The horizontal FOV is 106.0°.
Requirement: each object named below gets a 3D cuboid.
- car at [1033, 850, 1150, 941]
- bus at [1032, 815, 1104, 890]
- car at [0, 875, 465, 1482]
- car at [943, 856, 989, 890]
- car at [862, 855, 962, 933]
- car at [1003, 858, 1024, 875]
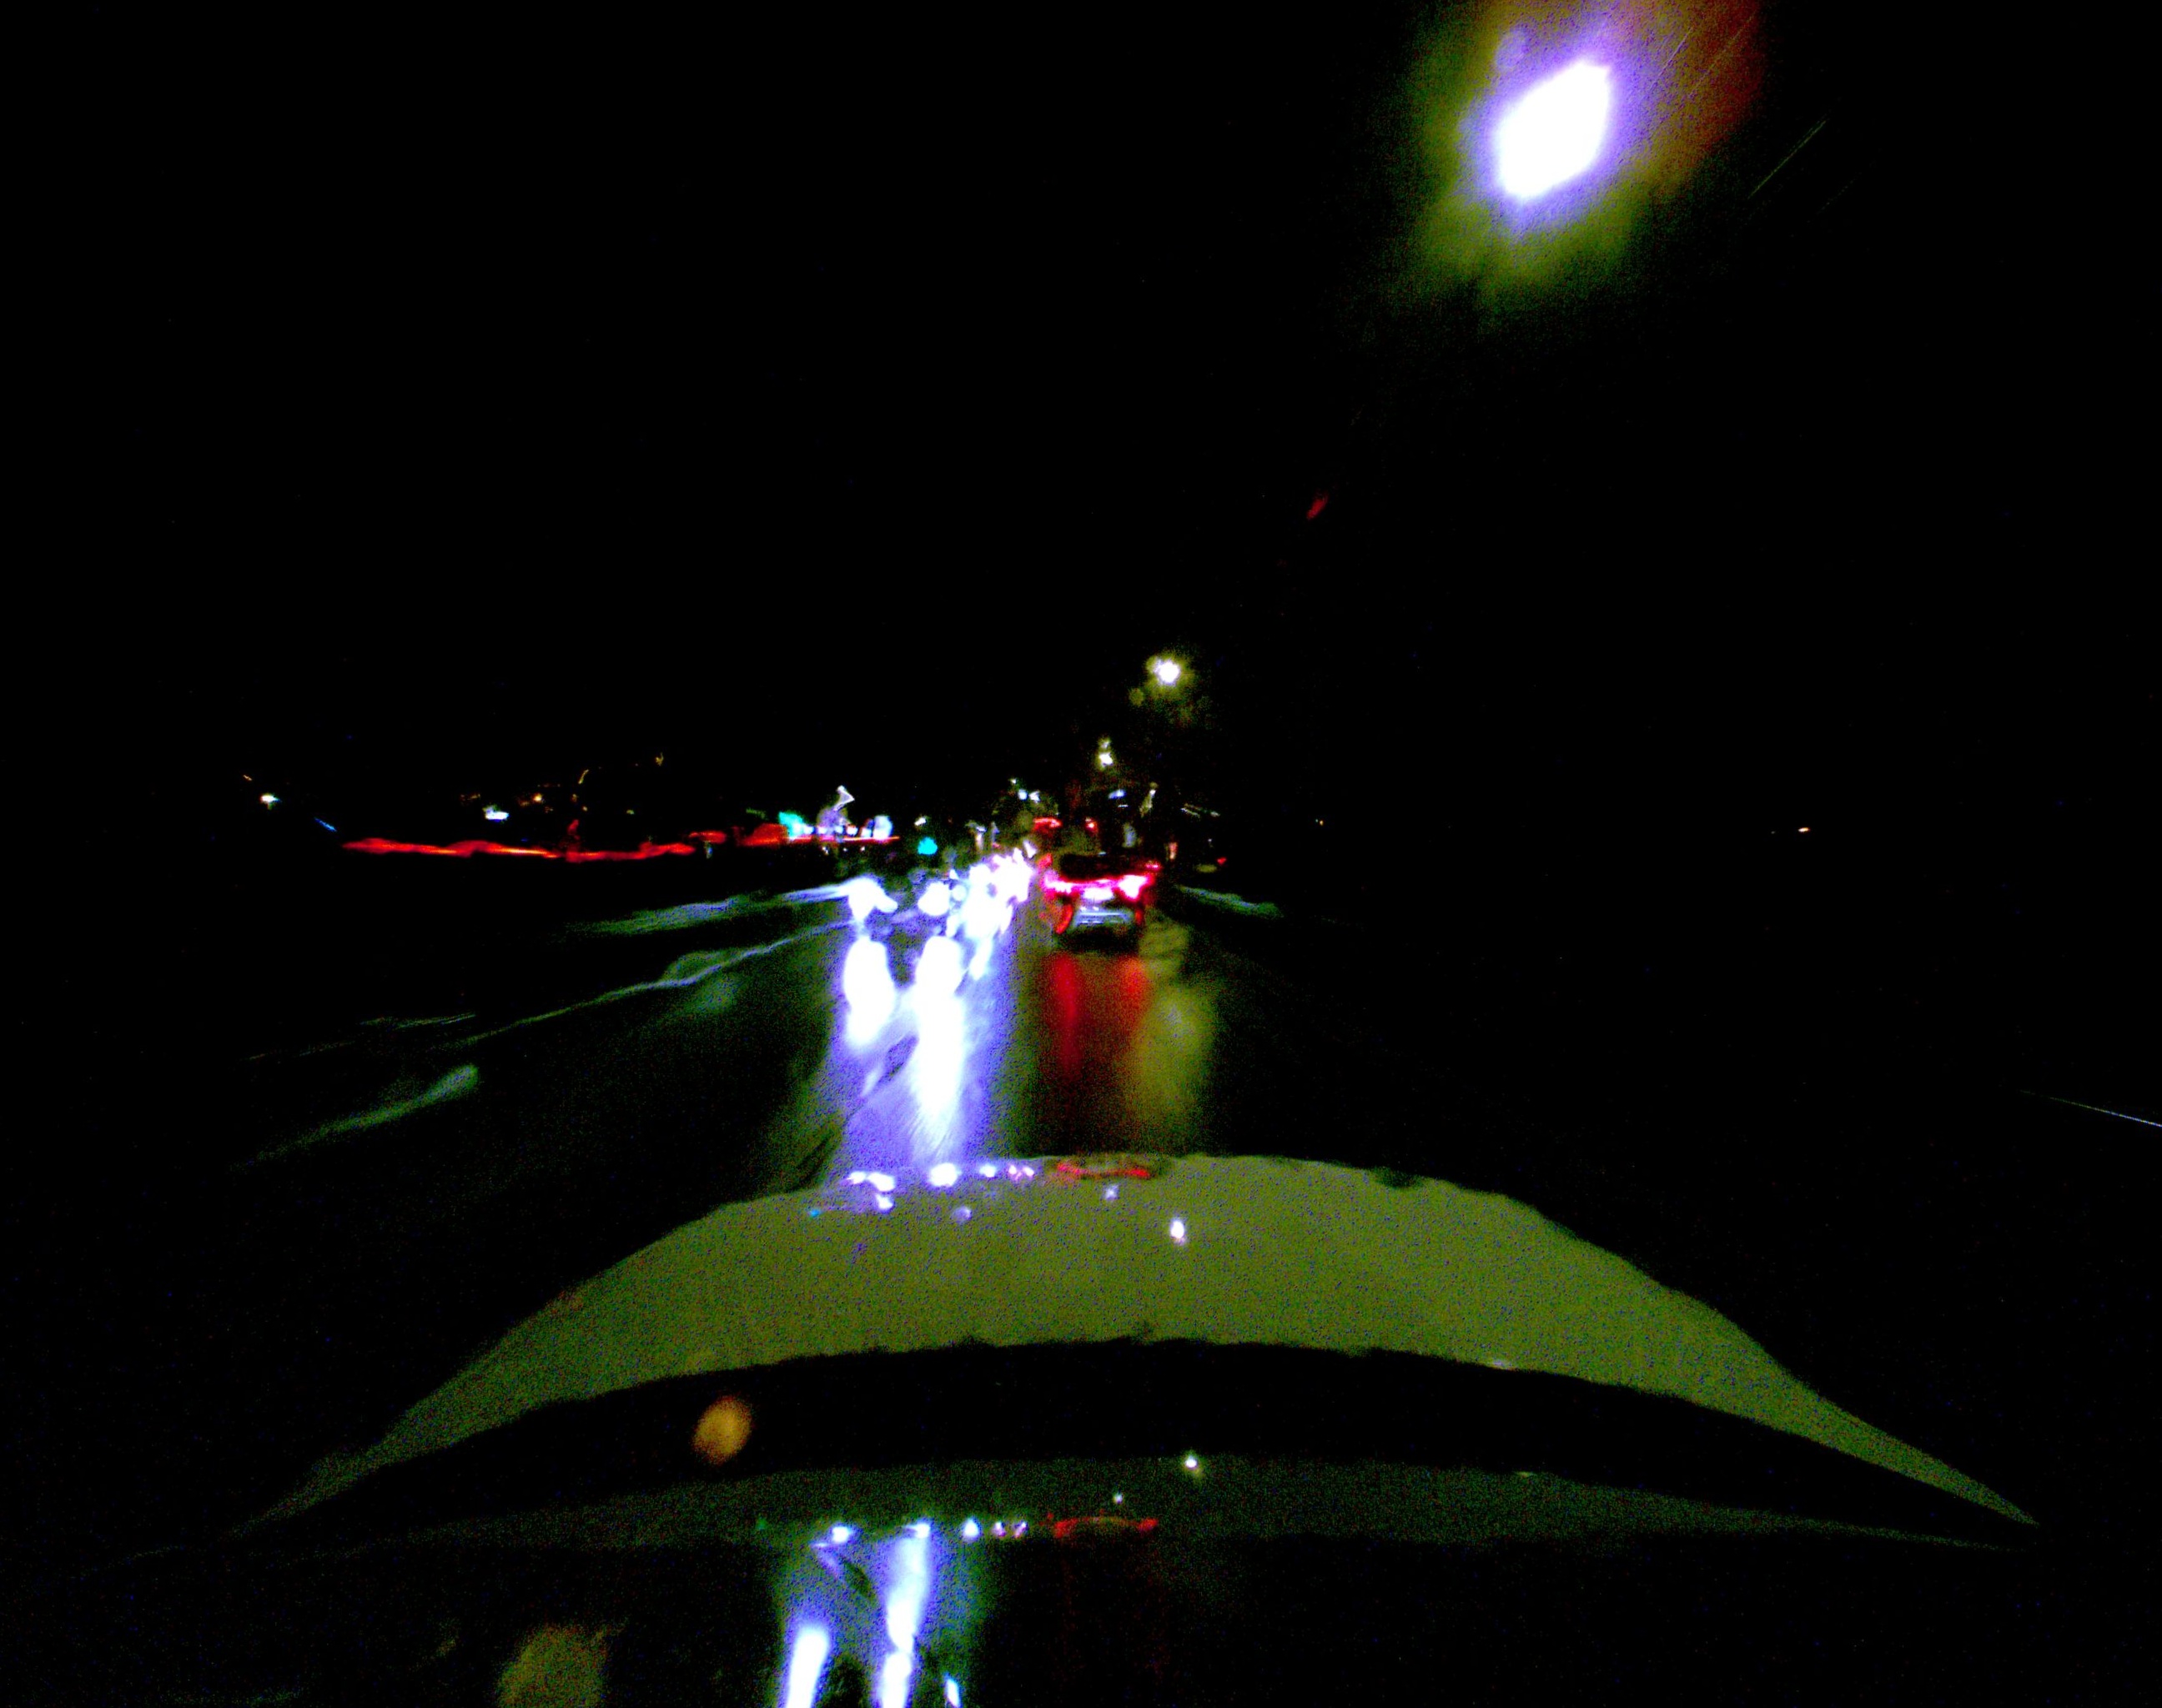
[{"bbox_3d":[0.300,0.693,15.912,1.985,1.524,4.004,0,1,3],"label":"car"},{"bbox_3d":[-0.666,-0.071,39.595,3.035,3.212,9.044,-1,0,-2],"label":"bus"},{"bbox_3d":[-3.458,0.818,1.563,1.659,1.432,3.818,-1,0,-1],"label":"car"},{"bbox_3d":[-5.100,0.823,36.583,1.756,1.431,4.321,0,0,-5],"label":"car"},{"bbox_3d":[-3.601,0.781,17.929,1.615,1.478,4.040,-1,0,-4],"label":"car"},{"bbox_3d":[-5.967,1.093,72.416,1.820,1.403,4.030,1,0,-4],"label":"car"}]
